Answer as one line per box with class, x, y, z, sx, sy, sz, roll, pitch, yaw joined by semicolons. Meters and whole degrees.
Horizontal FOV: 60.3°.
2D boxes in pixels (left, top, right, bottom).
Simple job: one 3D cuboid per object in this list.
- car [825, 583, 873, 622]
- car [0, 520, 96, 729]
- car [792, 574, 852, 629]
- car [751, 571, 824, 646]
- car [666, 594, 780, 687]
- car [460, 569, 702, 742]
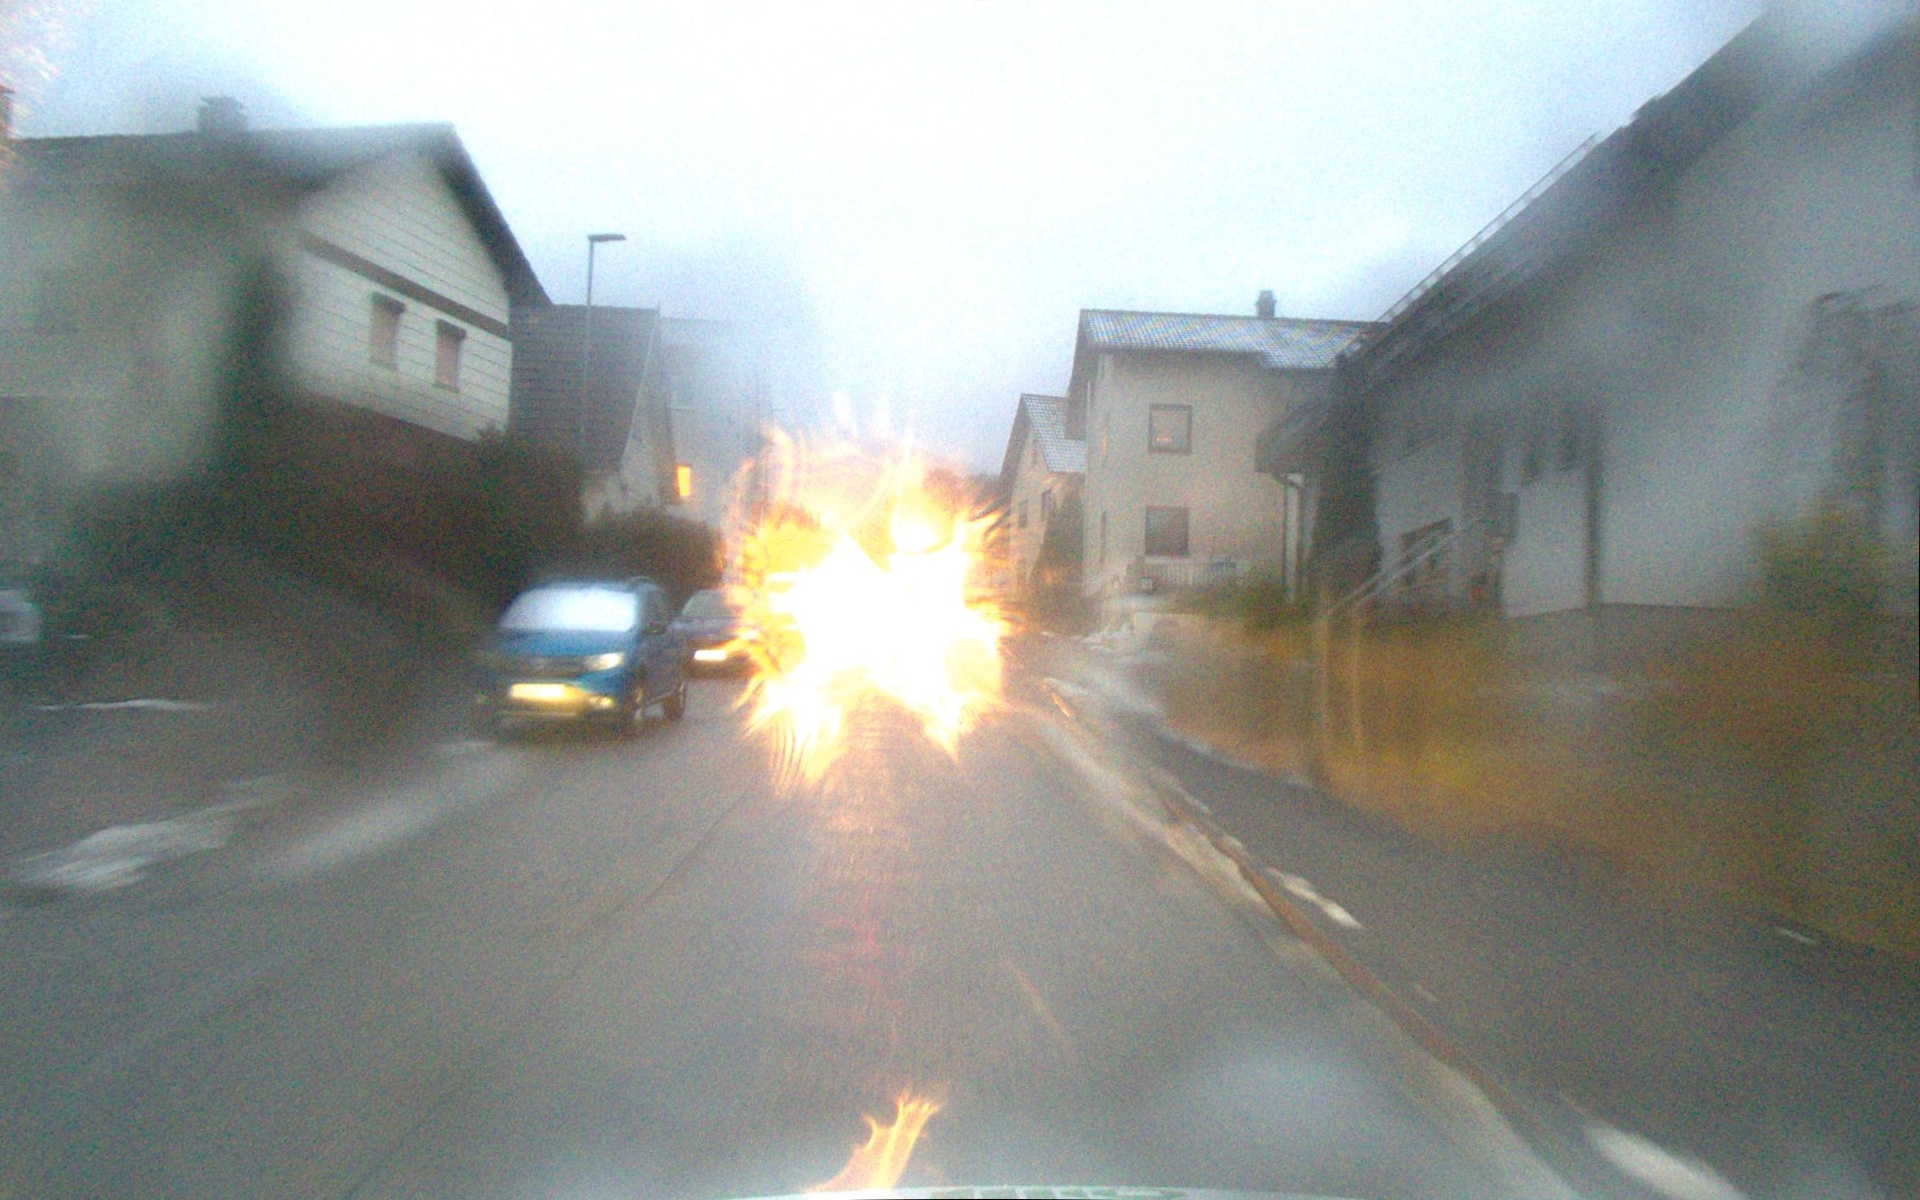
car;-5.042;0.122;75.608;1.953;1.679;3.999;0;-1;-1
car;-9.473;0.121;13.397;3.904;1.646;1.889;2;0;3
car;-4.741;0.033;57.320;1.954;1.832;3.998;0;0;-3
car;-4.517;0.195;43.039;1.791;1.867;4.338;0;0;-7
car;-4.158;0.662;29.549;1.759;1.530;4.305;0;0;-5
car;-3.914;0.540;17.766;1.649;1.612;4.175;1;0;-1
